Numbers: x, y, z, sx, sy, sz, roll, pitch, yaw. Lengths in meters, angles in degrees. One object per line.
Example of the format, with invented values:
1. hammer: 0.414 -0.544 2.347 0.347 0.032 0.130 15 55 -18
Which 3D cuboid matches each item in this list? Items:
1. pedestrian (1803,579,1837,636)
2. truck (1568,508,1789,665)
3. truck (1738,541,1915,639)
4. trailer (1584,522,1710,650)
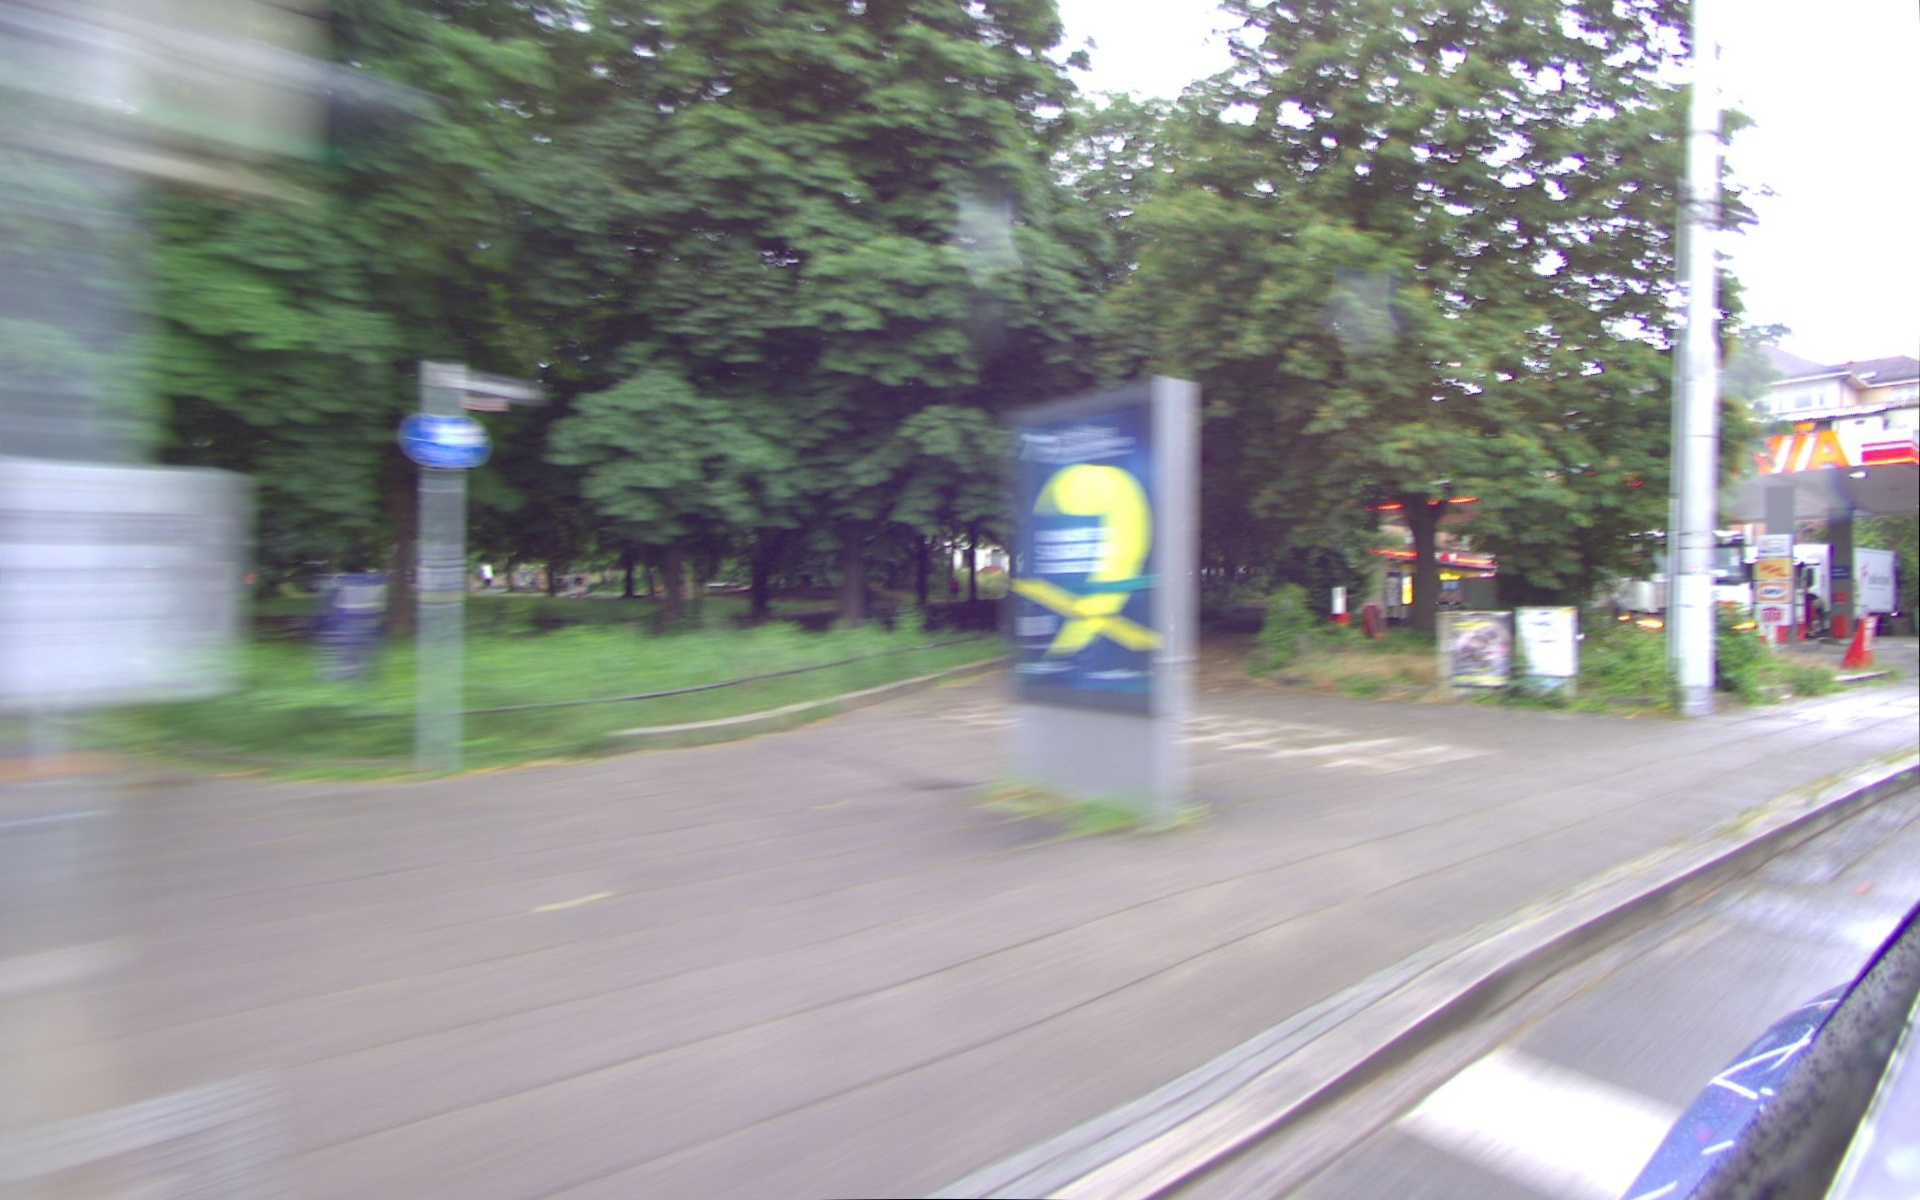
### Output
1. pedestrian: 31.493 0.270 37.060 0.639 2.066 0.810 0 0 -35
2. truck: 17.791 -0.381 25.591 2.800 3.442 6.089 1 1 18
3. truck: 35.509 -0.438 41.326 10.055 3.614 2.664 -1 1 -33
4. trailer: 21.861 -0.465 31.928 2.798 3.438 9.705 1 1 37
